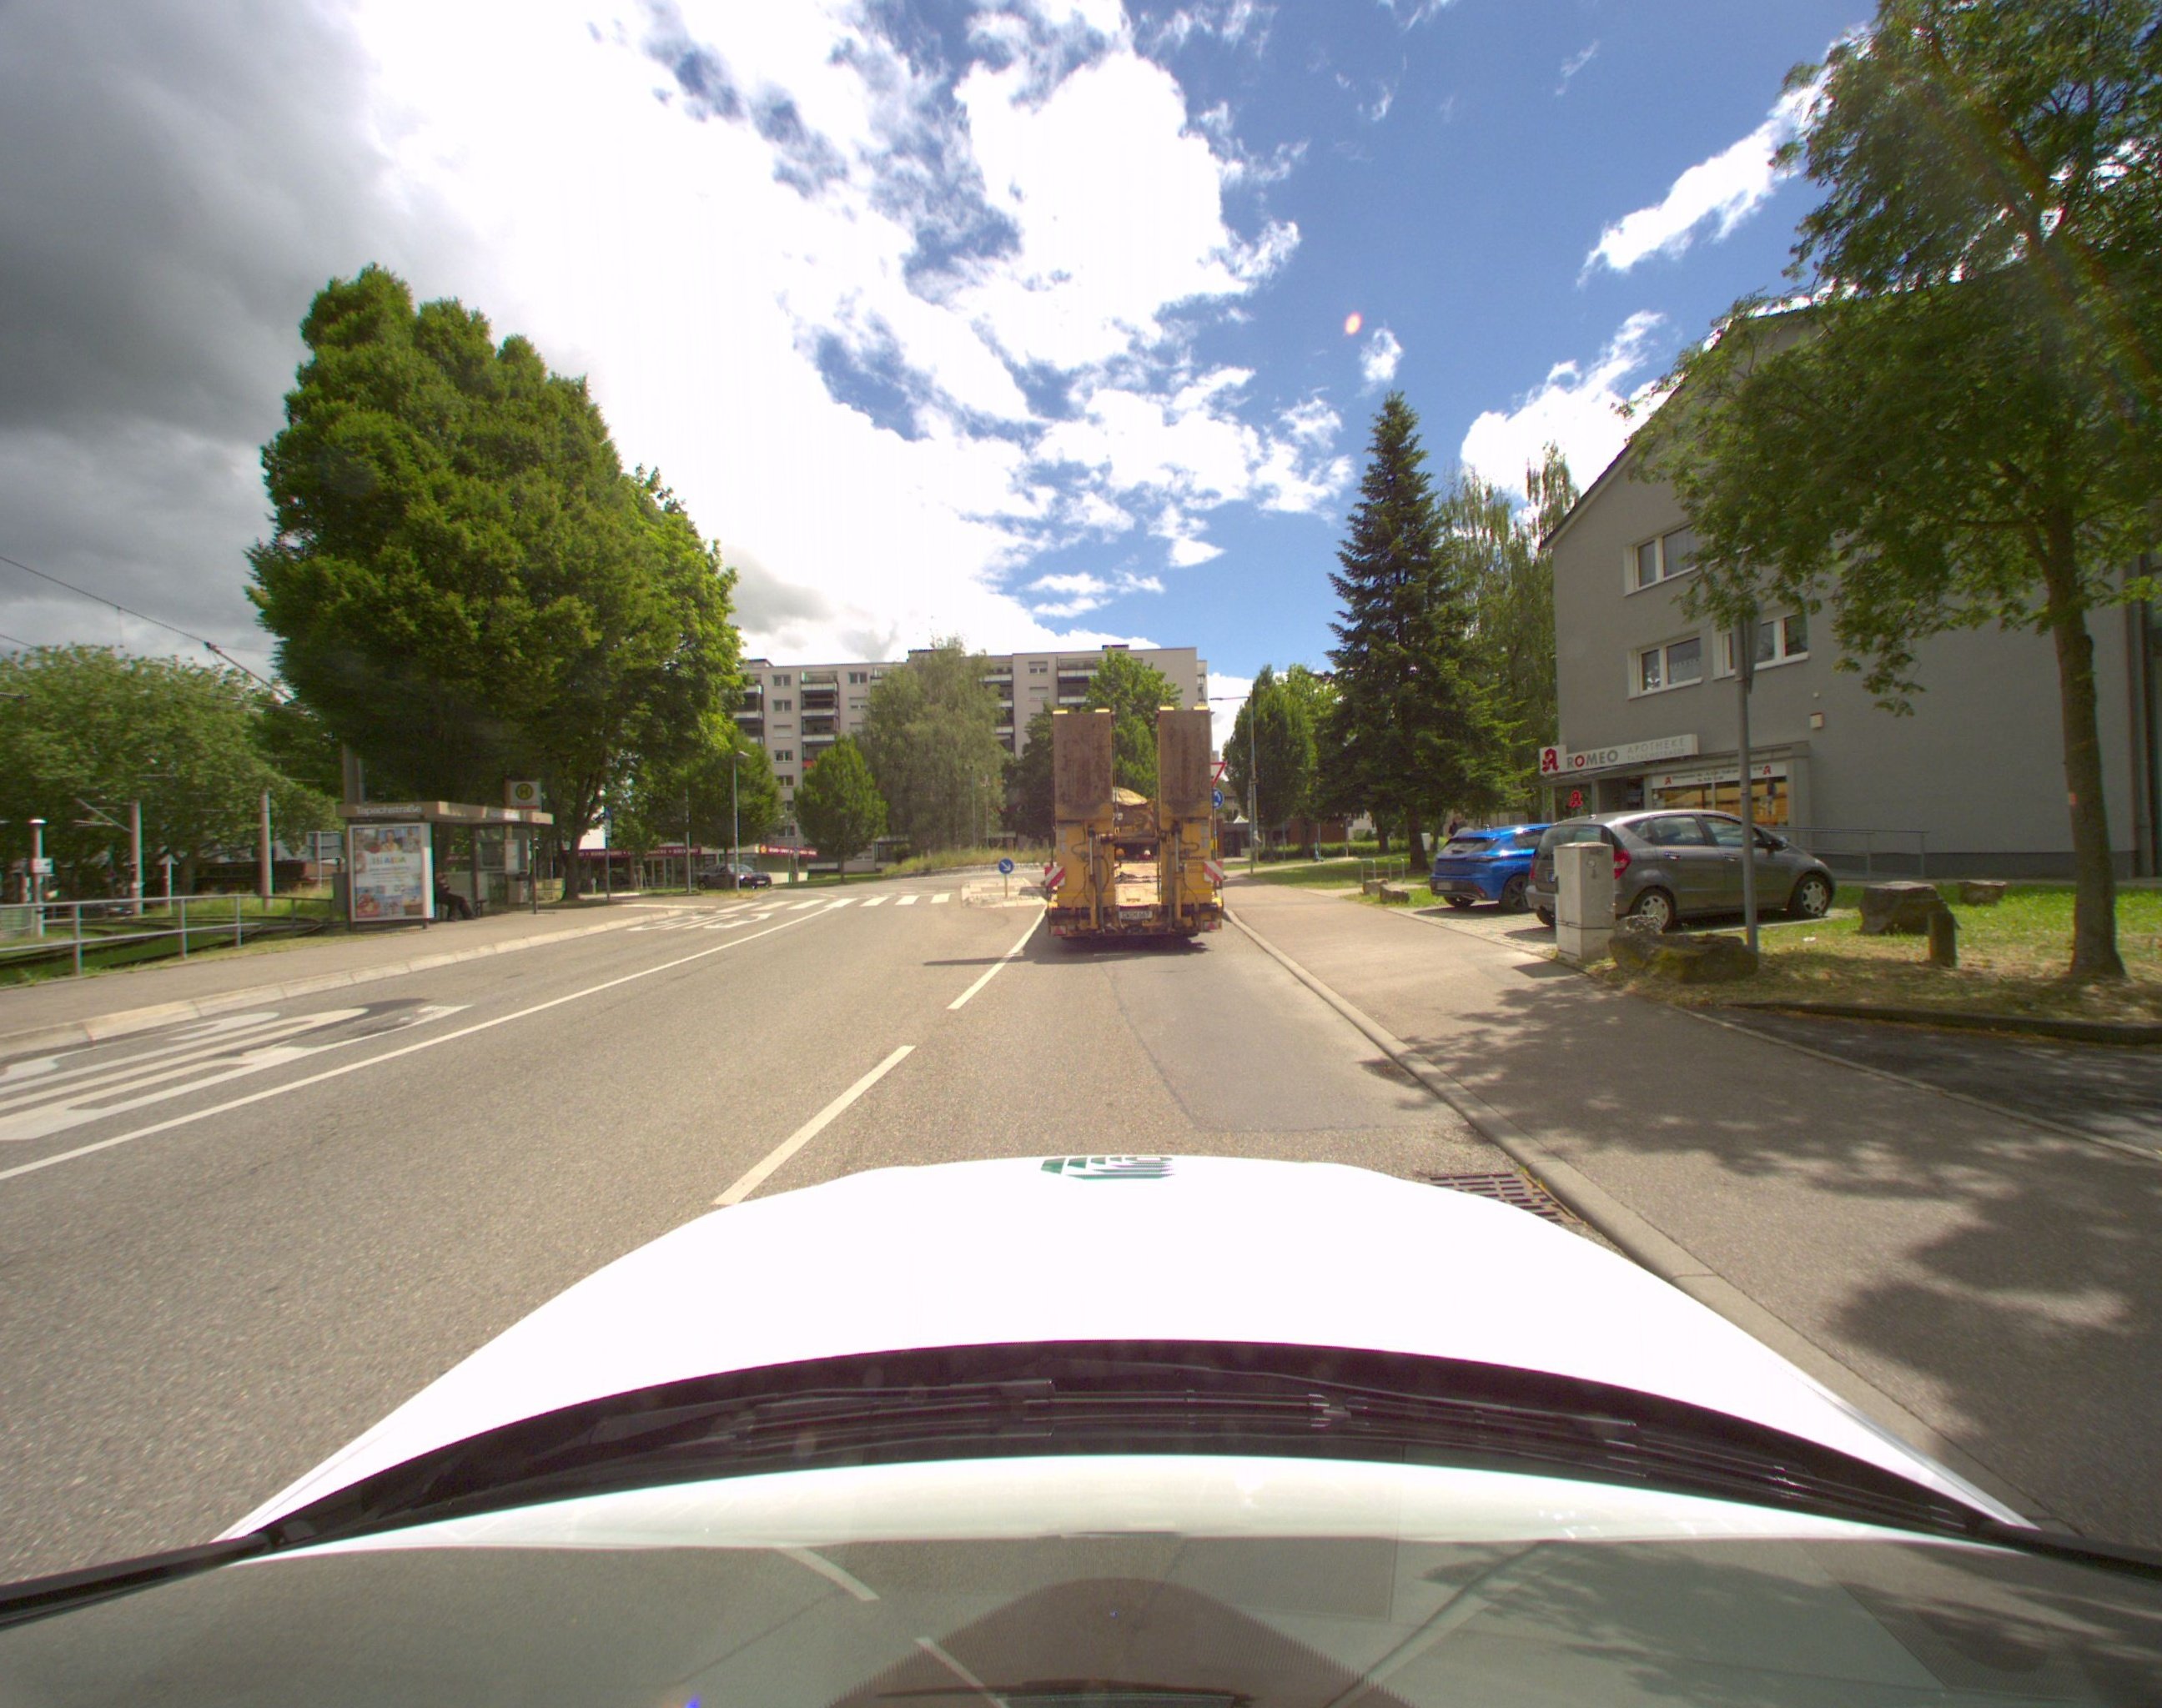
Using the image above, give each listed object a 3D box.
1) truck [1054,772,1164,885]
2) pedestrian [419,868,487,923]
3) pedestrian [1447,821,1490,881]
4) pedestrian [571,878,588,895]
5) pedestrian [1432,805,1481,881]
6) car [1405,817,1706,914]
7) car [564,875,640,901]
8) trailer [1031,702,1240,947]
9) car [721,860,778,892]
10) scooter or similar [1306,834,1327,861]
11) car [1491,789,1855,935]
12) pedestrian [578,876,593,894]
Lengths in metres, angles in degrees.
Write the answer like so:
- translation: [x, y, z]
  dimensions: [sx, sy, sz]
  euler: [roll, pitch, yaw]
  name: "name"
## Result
- translation: [0.630, -0.825, 26.522]
  dimensions: [2.980, 3.034, 8.480]
  euler: [-1, 2, -2]
  name: "truck"
- translation: [-13.787, 0.897, 17.903]
  dimensions: [0.797, 1.135, 0.909]
  euler: [-1, 0, -6]
  name: "pedestrian"
- translation: [10.364, -0.078, 21.793]
  dimensions: [0.741, 1.529, 0.689]
  euler: [-3, 0, -8]
  name: "pedestrian"
- translation: [-41.099, 2.666, 66.743]
  dimensions: [0.817, 1.325, 0.880]
  euler: [0, 0, 0]
  name: "pedestrian"
- translation: [10.292, -0.290, 22.355]
  dimensions: [0.654, 2.013, 1.043]
  euler: [-3, 0, -11]
  name: "pedestrian"
- translation: [8.477, 0.166, 14.700]
  dimensions: [4.486, 1.243, 1.992]
  euler: [-5, 1, -12]
  name: "car"
- translation: [-30.333, 2.157, 51.590]
  dimensions: [4.560, 1.383, 1.834]
  euler: [-3, 0, 25]
  name: "car"
- translation: [0.904, -0.505, 16.780]
  dimensions: [2.853, 3.372, 10.845]
  euler: [-1, 1, 1]
  name: "trailer"
- translation: [-17.848, 1.165, 43.754]
  dimensions: [2.007, 1.525, 4.478]
  euler: [-3, 0, -32]
  name: "car"
- translation: [12.316, -0.338, 42.606]
  dimensions: [0.480, 1.343, 1.397]
  euler: [-3, 1, 38]
  name: "scooter or similar"
- translation: [8.093, 0.069, 11.333]
  dimensions: [3.729, 1.556, 2.025]
  euler: [-5, 1, -10]
  name: "car"
- translation: [-41.143, 2.569, 67.602]
  dimensions: [0.693, 1.380, 0.721]
  euler: [-3, 0, 7]
  name: "pedestrian"
